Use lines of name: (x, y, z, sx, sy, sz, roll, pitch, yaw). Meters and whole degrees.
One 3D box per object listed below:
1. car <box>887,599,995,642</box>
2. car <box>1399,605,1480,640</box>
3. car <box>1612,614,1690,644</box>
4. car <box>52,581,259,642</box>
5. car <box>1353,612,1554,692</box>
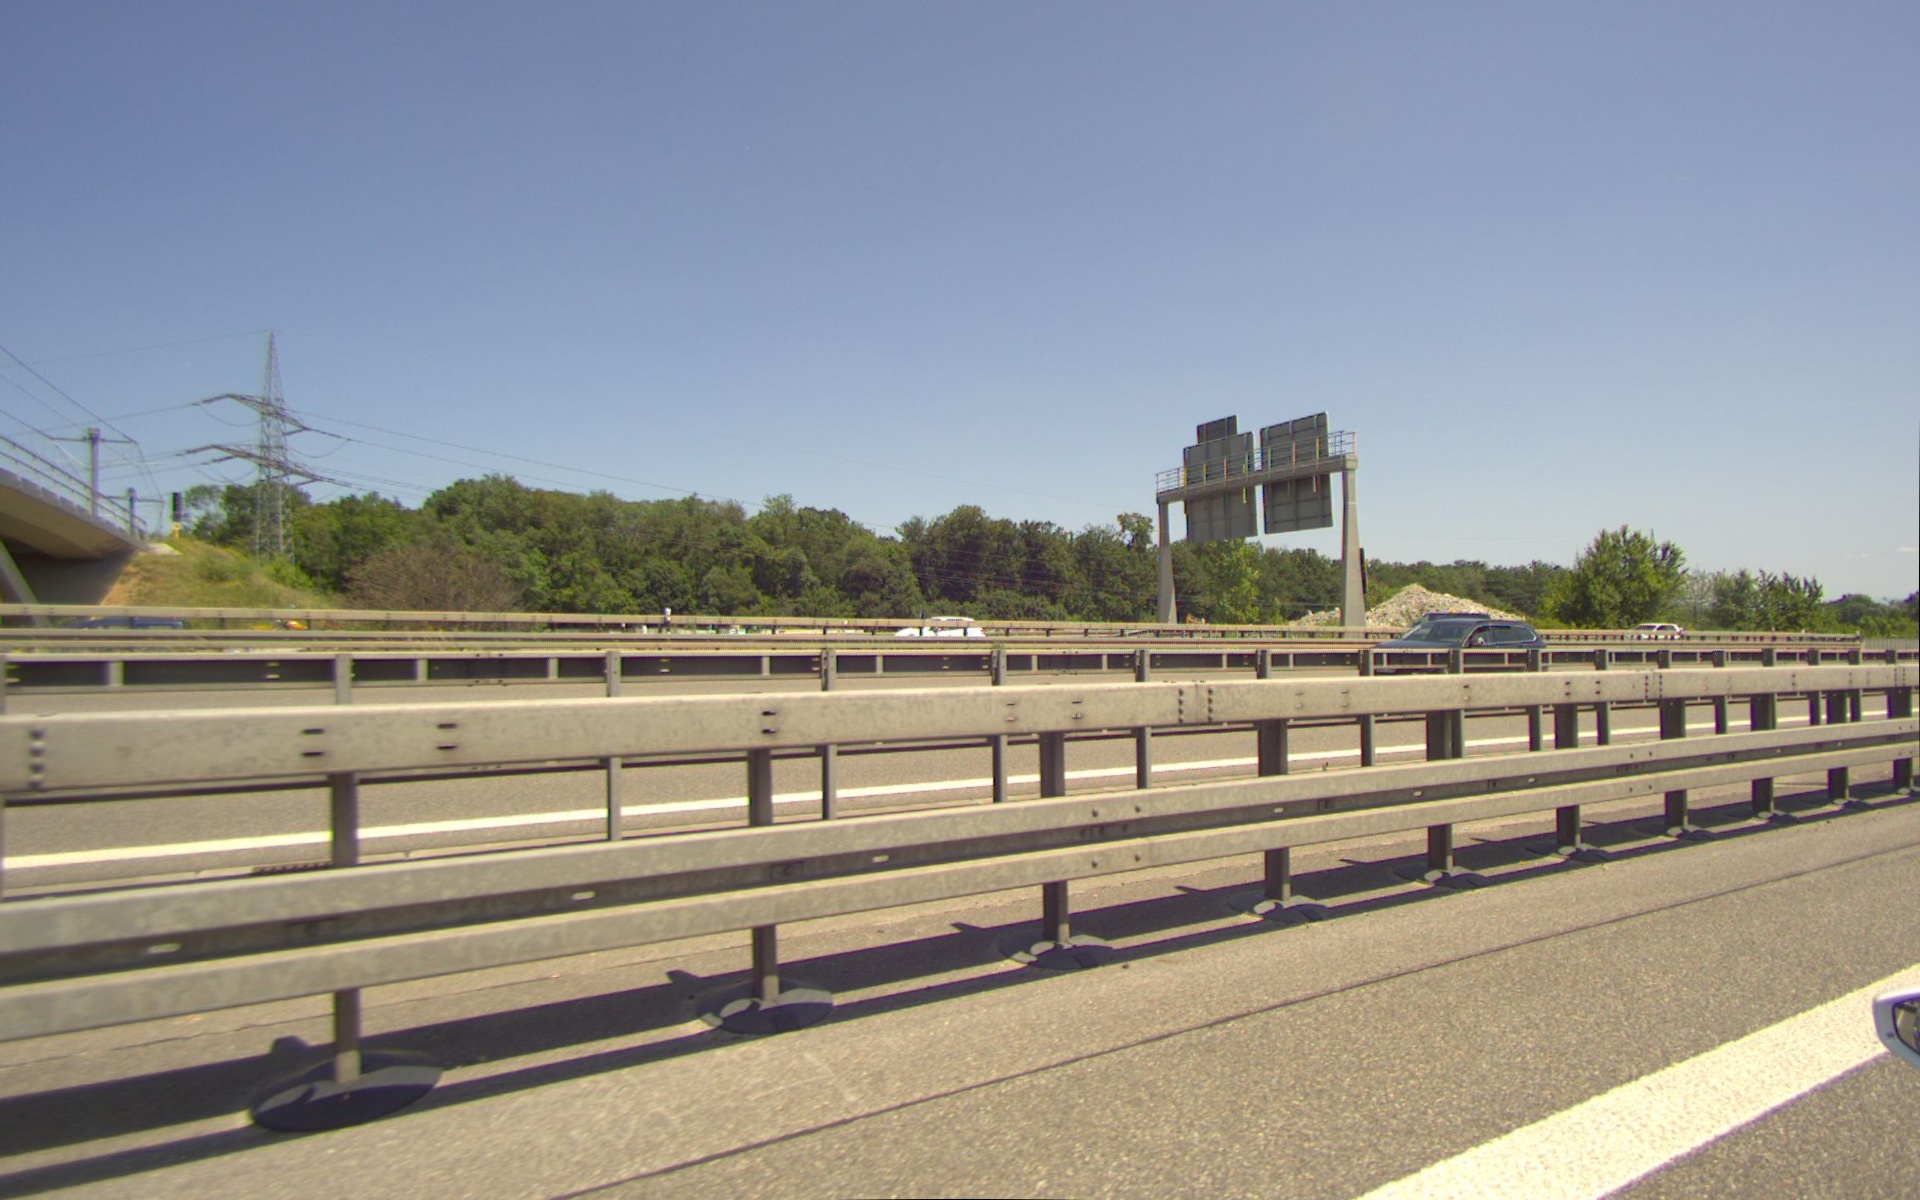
car: (-0.767, 0.833, 40.765, 3.952, 1.639, 1.984, 1, 0, -30)
car: (25.777, 1.197, 54.004, 3.948, 1.767, 1.862, 2, 0, -27)
car: (41.833, 1.760, 60.823, 4.327, 1.639, 1.864, 2, 0, -24)
car: (-22.707, 0.346, 28.591, 4.271, 1.639, 1.984, 1, 0, -30)
car: (10.549, 1.084, 21.391, 4.392, 1.483, 1.650, 2, 1, -30)
